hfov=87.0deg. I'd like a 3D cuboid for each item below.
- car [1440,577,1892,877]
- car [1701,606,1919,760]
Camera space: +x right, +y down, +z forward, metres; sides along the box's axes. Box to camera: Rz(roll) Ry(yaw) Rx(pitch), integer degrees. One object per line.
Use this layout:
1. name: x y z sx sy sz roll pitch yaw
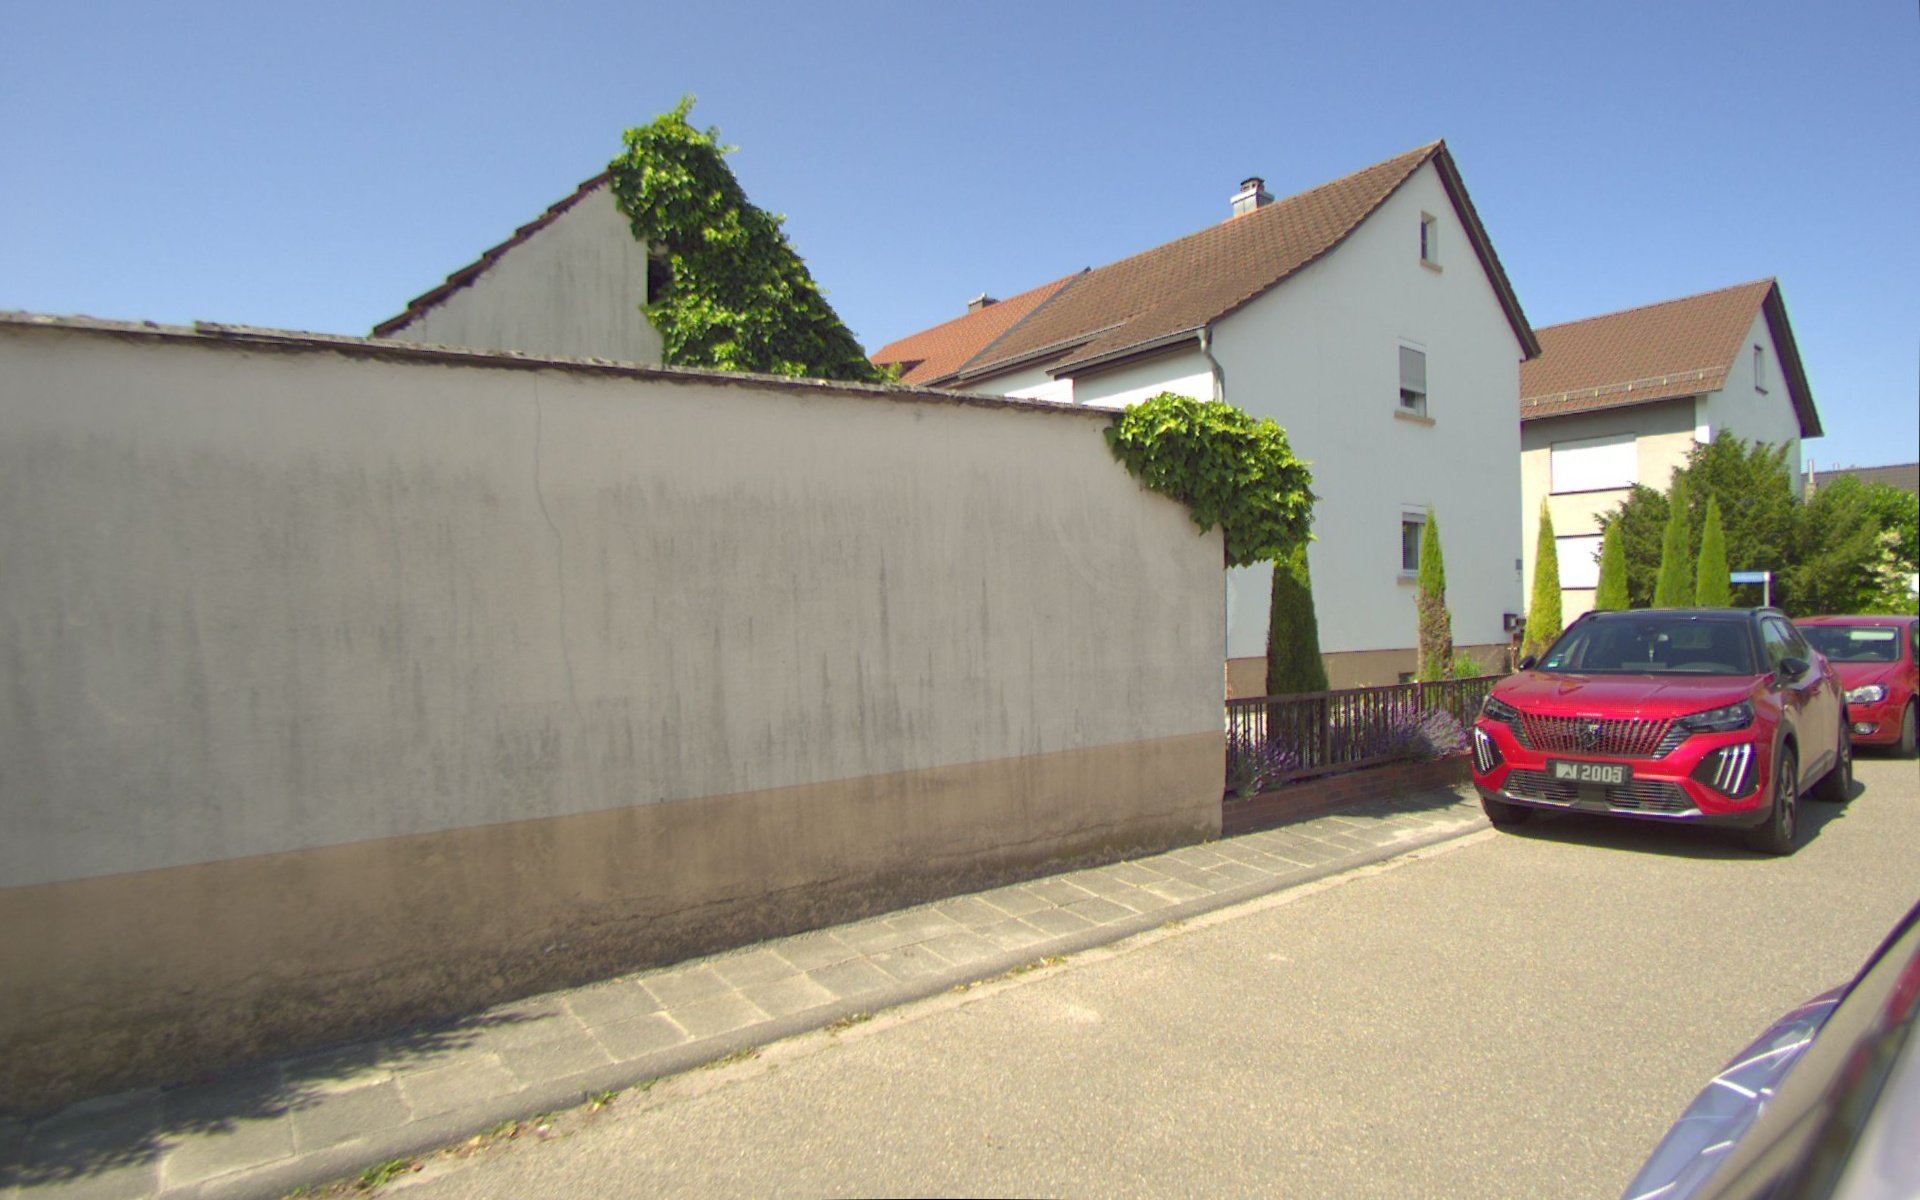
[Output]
1. car: 5.386 0.721 7.537 3.930 1.636 1.825 0 -2 -41
2. car: 10.425 0.838 11.689 3.924 1.498 1.780 0 -3 -35
